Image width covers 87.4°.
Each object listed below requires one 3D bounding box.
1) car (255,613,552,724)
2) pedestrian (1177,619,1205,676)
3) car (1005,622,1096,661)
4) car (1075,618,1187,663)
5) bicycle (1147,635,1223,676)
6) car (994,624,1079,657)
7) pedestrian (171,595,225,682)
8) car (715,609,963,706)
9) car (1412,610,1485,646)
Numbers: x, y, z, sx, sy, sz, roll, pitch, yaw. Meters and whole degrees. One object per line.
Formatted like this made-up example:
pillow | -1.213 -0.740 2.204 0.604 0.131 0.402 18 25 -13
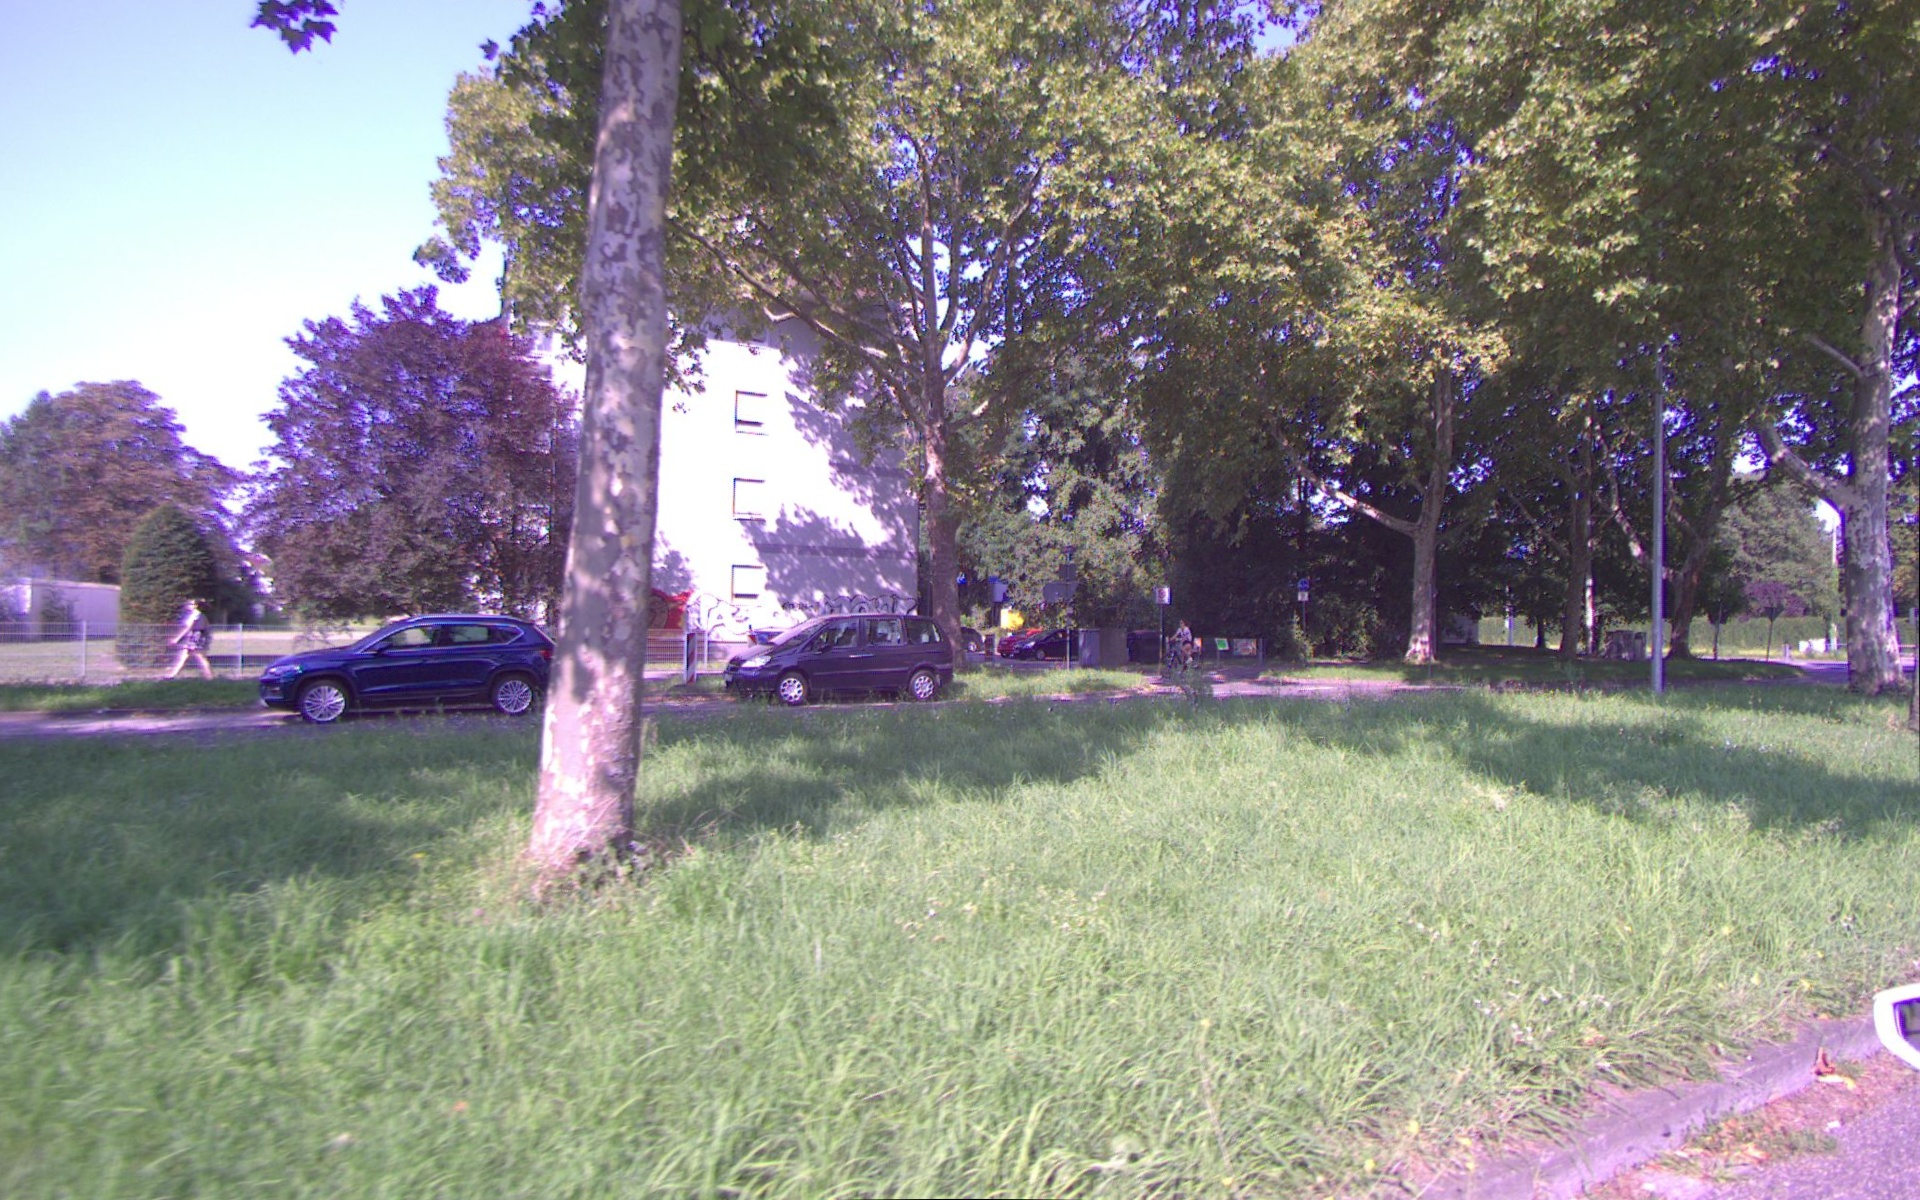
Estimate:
car | -8.787 1.057 16.145 3.951 1.588 1.692 2 -2 -29
pedestrian | 7.154 1.462 31.107 0.651 1.713 0.540 2 -1 -32
car | 4.273 1.944 47.369 3.945 1.749 1.692 2 -1 -24
car | 7.080 1.693 41.547 4.328 1.749 1.692 2 -1 -24
bicycle | 7.050 1.731 31.369 2.732 1.215 0.541 2 -1 -33
car | 3.834 2.033 50.536 3.945 1.588 1.692 2 -1 -24
pedestrian | -15.029 0.751 19.831 0.726 1.667 0.644 2 -1 -30
car | -2.365 1.121 20.043 4.603 1.755 1.692 2 -1 -29
car | 30.722 1.780 63.144 4.662 2.165 2.165 2 -2 -34
